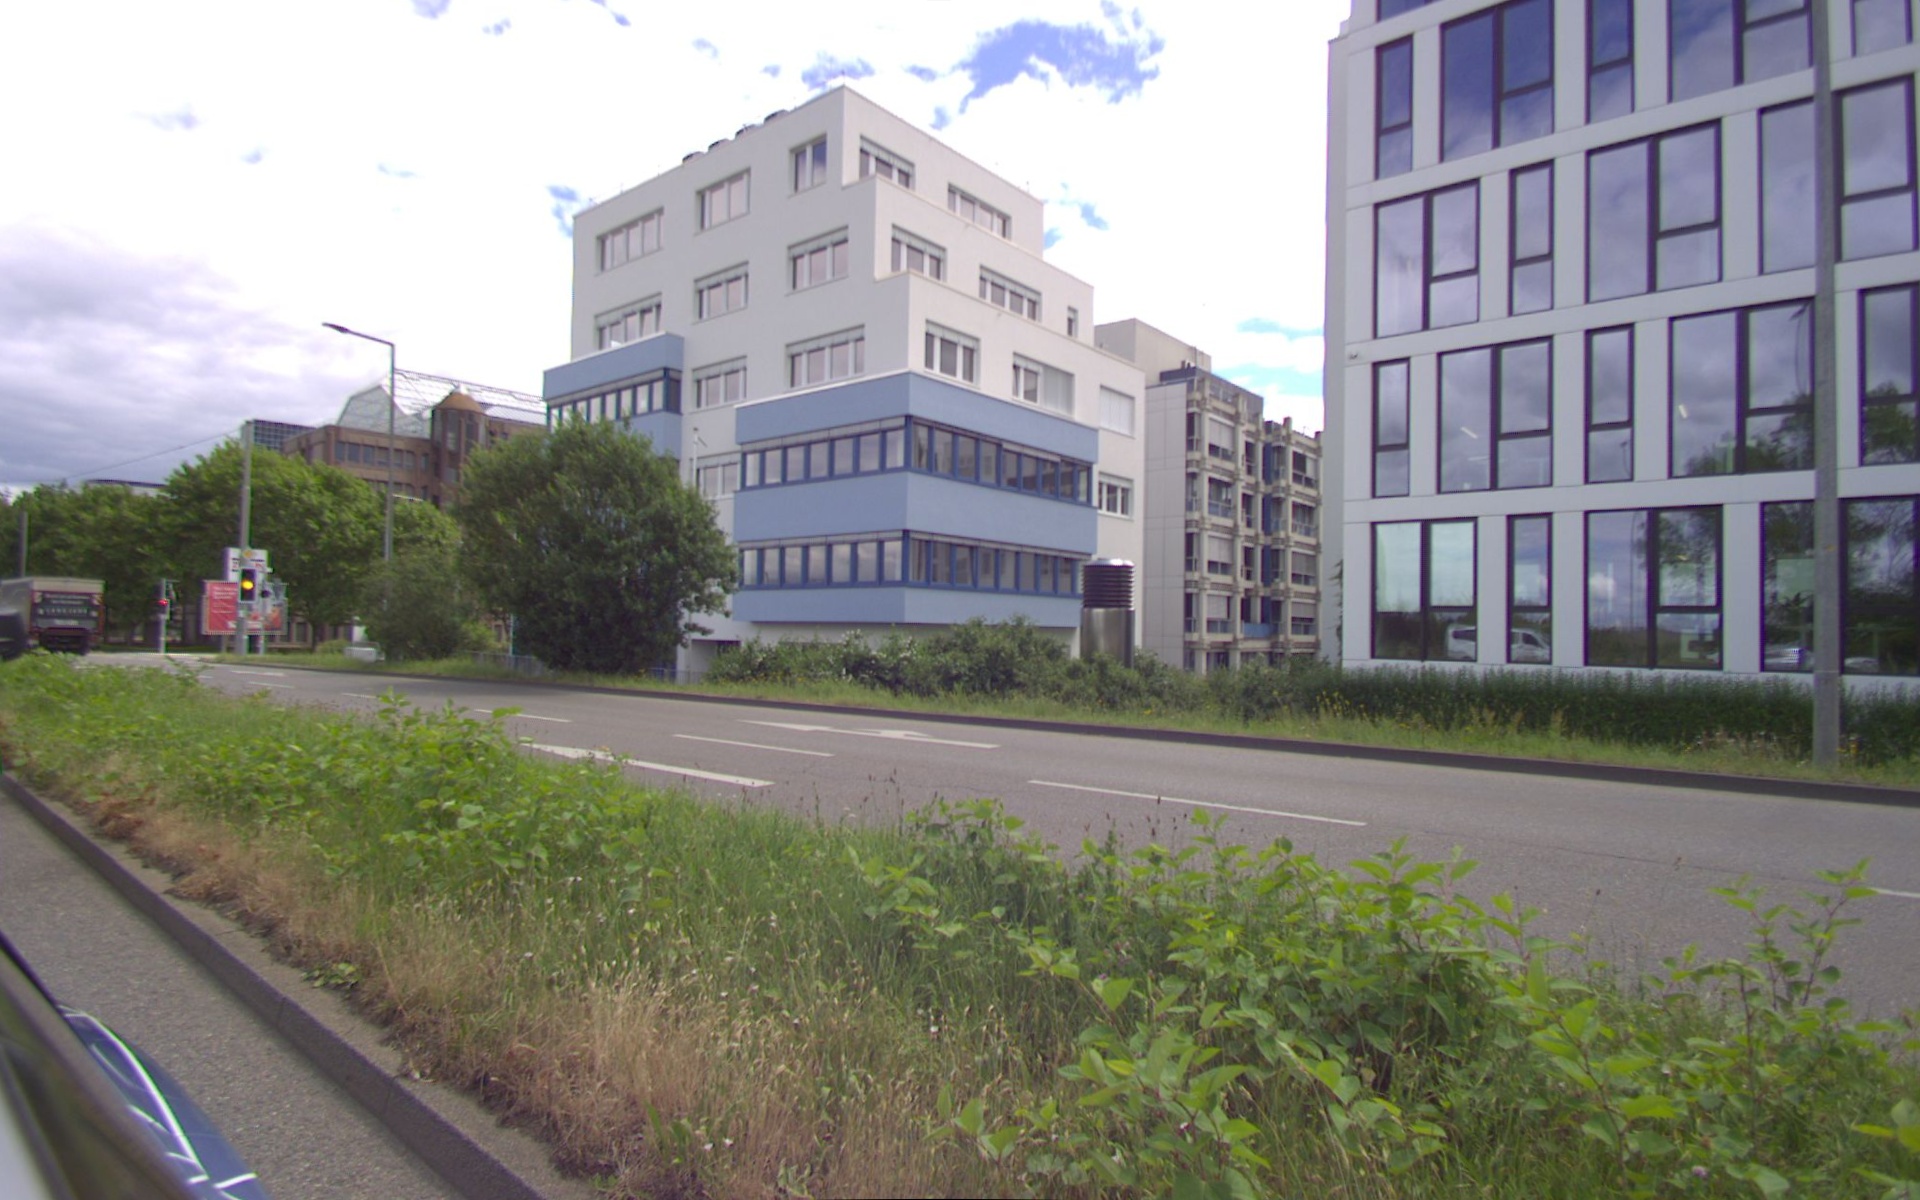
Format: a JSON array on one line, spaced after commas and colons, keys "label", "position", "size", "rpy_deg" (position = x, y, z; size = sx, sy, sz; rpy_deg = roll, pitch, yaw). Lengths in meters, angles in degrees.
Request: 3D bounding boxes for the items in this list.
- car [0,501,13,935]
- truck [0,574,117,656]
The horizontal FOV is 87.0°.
[{"label": "car", "position": [-6.845, 0.568, 5.536], "size": [5.052, 1.965, 1.942], "rpy_deg": [-1, -1, 41]}, {"label": "truck", "position": [-42.966, 0.748, 47.829], "size": [9.519, 3.545, 3.135], "rpy_deg": [-1, -3, 40]}]
